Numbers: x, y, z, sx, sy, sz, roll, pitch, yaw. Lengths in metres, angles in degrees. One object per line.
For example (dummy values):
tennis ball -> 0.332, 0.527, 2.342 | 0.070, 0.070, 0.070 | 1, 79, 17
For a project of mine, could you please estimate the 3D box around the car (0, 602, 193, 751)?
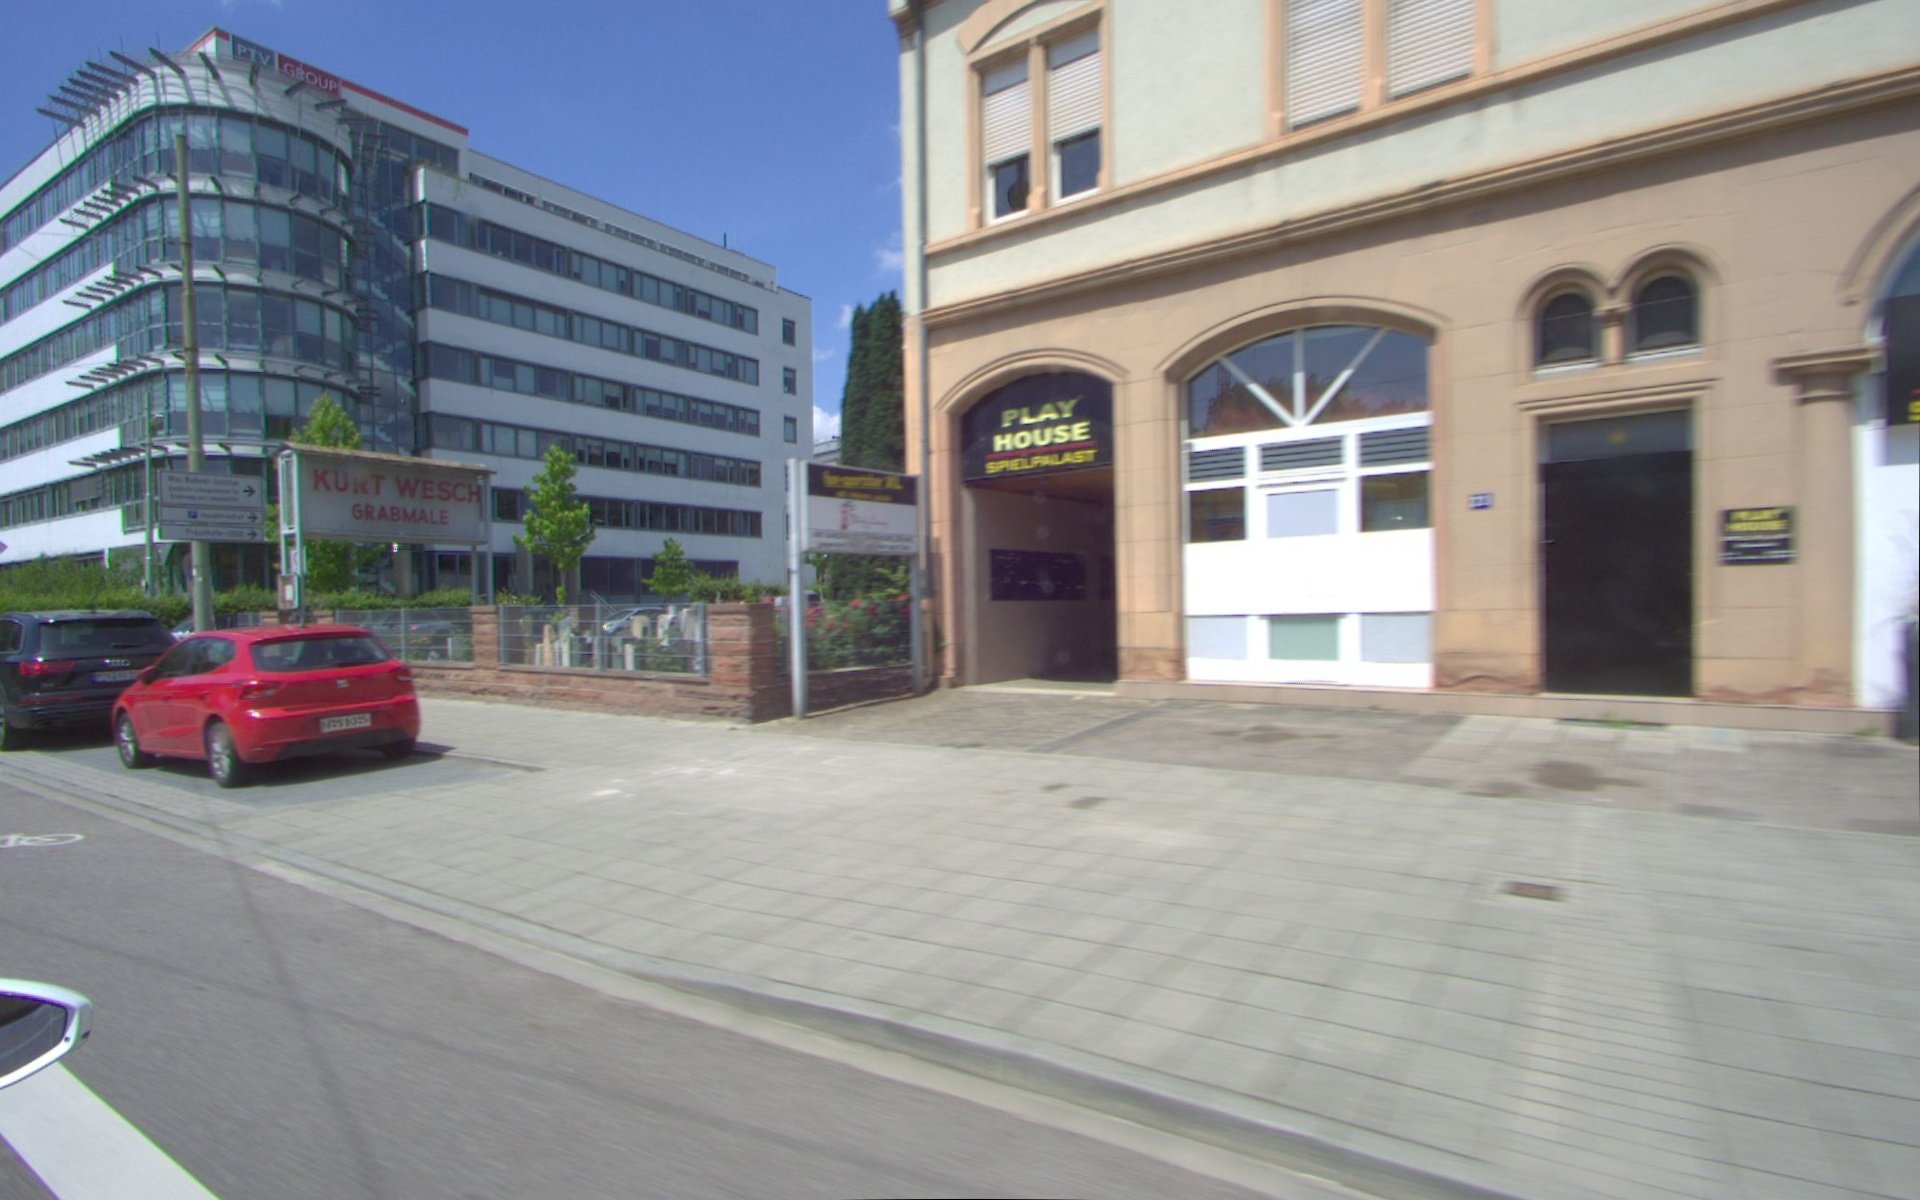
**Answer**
car -> -12.672, 0.926, 13.942 | 4.935, 1.709, 1.856 | -1, 1, 37

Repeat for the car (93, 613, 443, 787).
car -> -7.472, 0.918, 10.714 | 4.016, 1.472, 1.706 | -1, 2, 34

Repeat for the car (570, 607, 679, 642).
car -> -14.046, 1.002, 42.095 | 1.973, 1.385, 3.976 | 0, 0, 34

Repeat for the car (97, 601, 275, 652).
car -> -22.342, 0.728, 29.046 | 1.534, 1.292, 3.787 | 0, 1, 34
